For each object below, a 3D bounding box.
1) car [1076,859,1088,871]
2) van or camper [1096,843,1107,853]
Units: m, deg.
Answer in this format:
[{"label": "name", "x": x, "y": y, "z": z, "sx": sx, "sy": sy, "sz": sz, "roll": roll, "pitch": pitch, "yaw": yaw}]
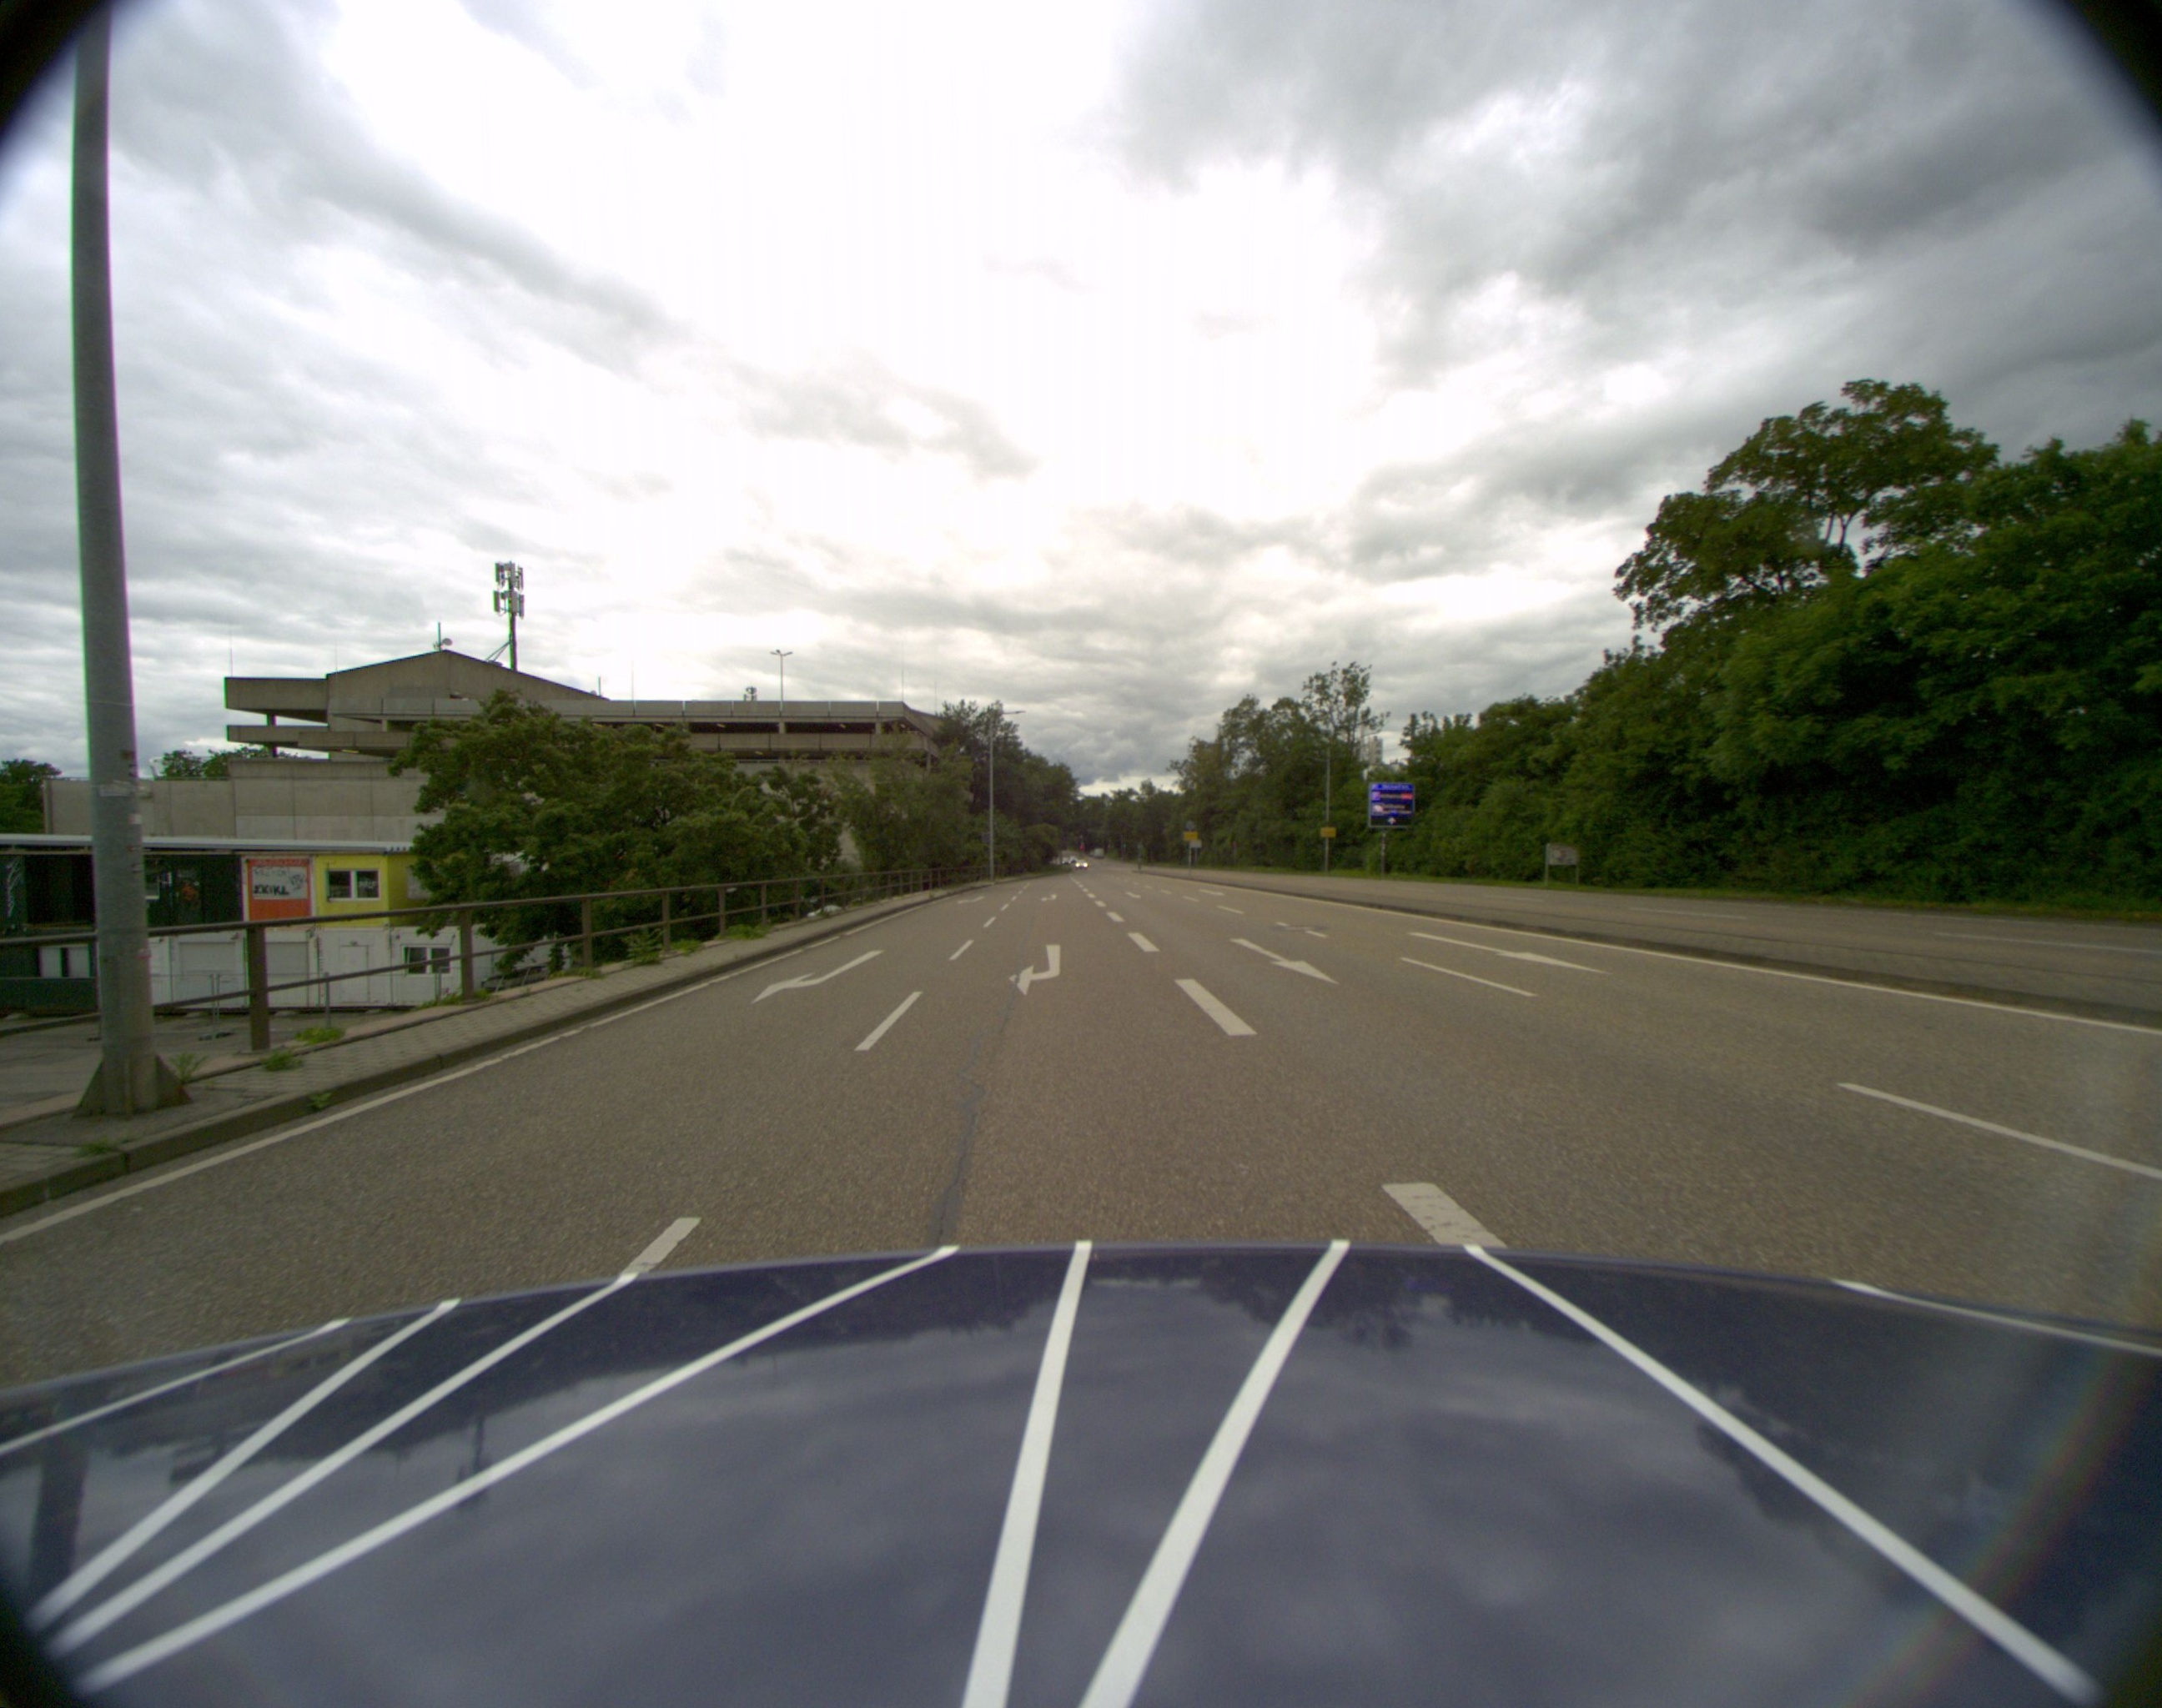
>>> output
[{"label": "car", "x": 0.166, "y": 1.670, "z": 113.629, "sx": 1.854, "sy": 1.471, "sz": 4.507, "roll": 1, "pitch": 3, "yaw": 0}, {"label": "van or camper", "x": 5.446, "y": -1.583, "z": 203.945, "sx": 2.289, "sy": 2.540, "sz": 6.858, "roll": -6, "pitch": 0, "yaw": -2}]
